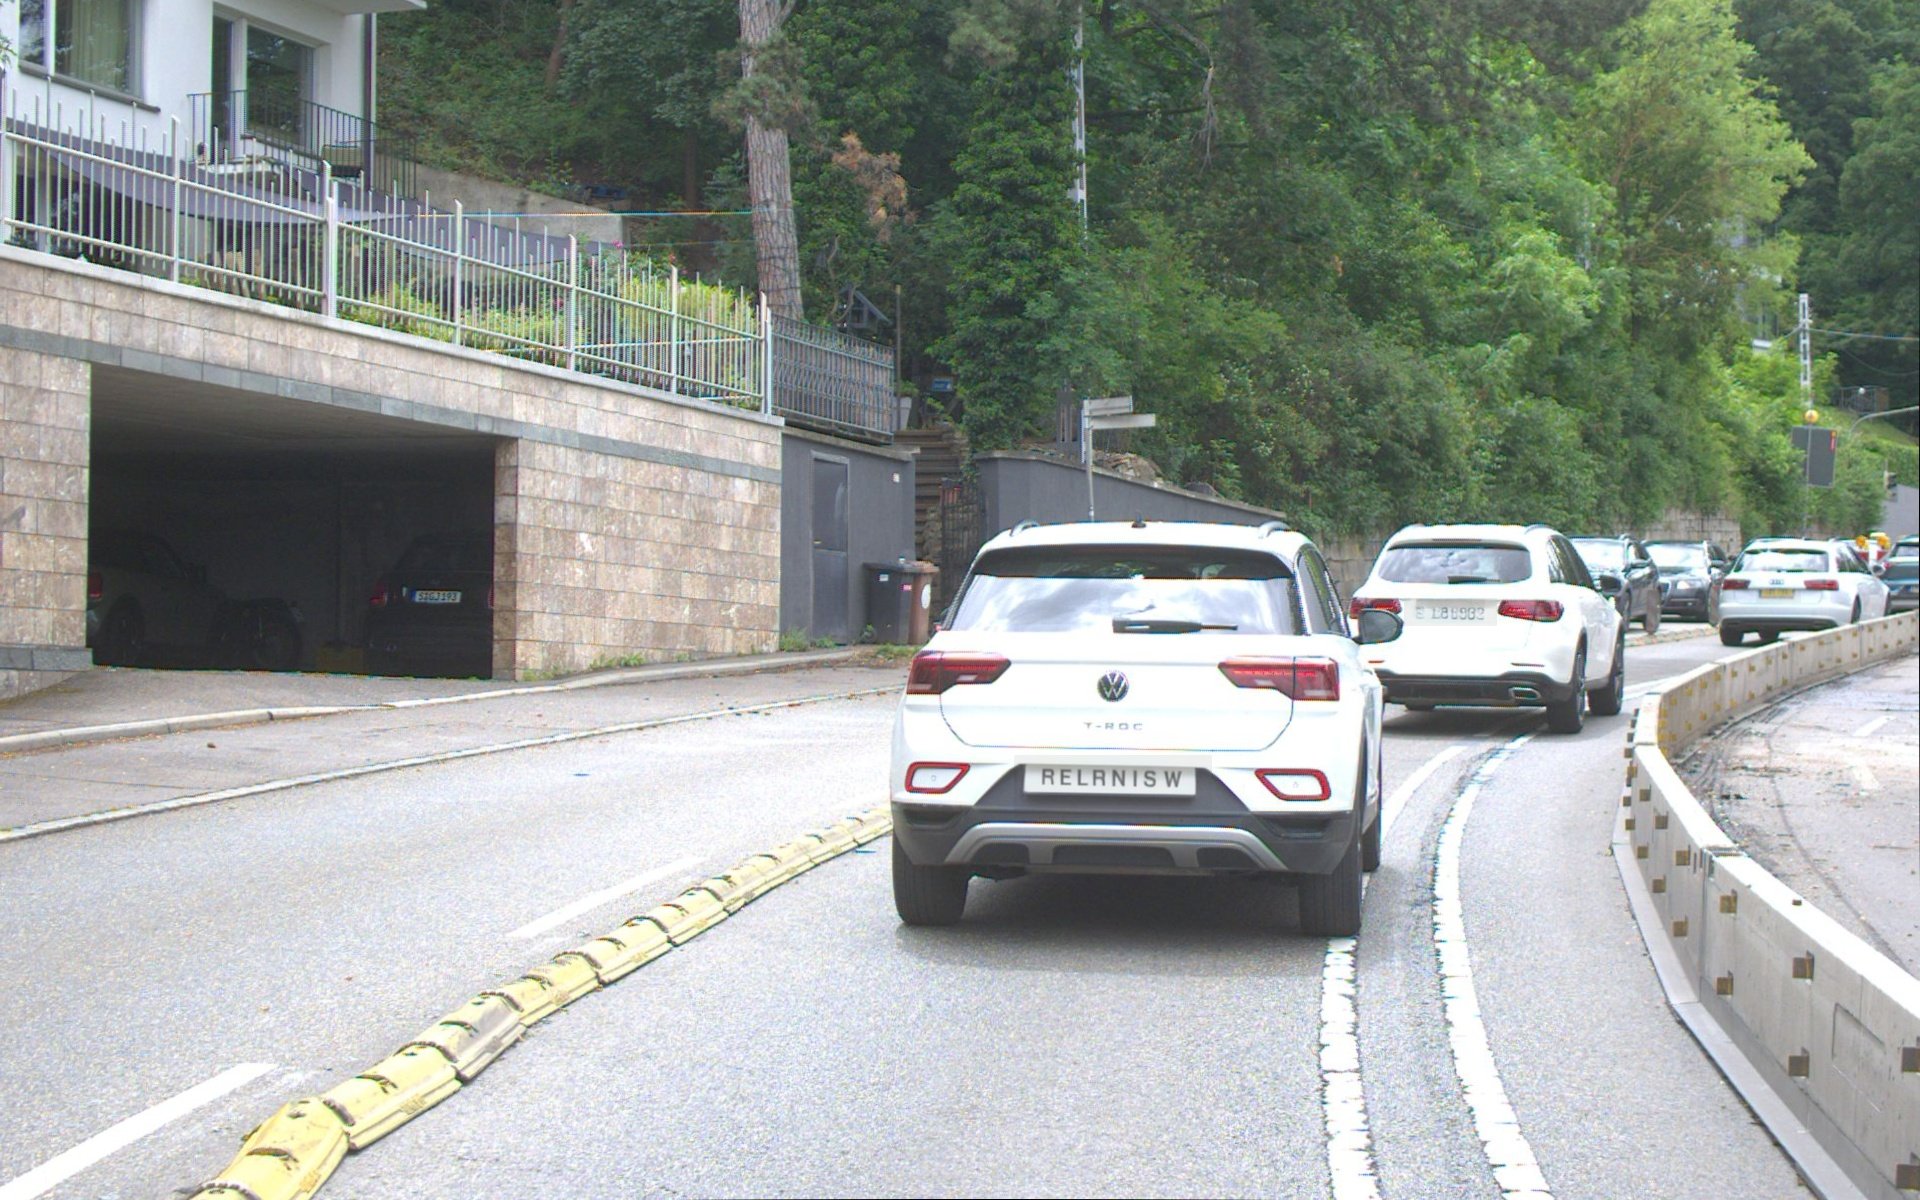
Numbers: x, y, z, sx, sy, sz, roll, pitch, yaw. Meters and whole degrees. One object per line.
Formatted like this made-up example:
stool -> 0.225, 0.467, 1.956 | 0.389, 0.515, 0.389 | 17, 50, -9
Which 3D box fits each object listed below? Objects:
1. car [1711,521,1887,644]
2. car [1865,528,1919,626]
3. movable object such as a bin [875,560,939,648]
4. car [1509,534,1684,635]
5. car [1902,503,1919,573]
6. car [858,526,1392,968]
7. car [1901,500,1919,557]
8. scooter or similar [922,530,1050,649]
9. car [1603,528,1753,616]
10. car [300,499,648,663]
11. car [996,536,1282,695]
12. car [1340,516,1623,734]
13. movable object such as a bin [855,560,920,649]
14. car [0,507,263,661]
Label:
car -> 11.870, -0.276, 48.479 | 1.812, 1.657, 3.995 | 0, 1, 23
car -> 17.065, -0.428, 60.200 | 1.812, 1.657, 3.995 | 0, 1, 23
movable object such as a bin -> -0.584, 0.041, 38.222 | 0.549, 0.973, 0.509 | 0, 1, 23
car -> 10.039, -0.266, 53.968 | 1.769, 1.447, 4.303 | 3, 2, 23
car -> 23.863, -1.502, 82.730 | 1.812, 1.657, 3.995 | 0, 1, 23
car -> 0.822, 0.471, 14.183 | 1.810, 1.526, 3.999 | 1, 2, 8
car -> 25.820, -1.829, 89.977 | 1.769, 1.447, 4.304 | 3, 2, 21
scooter or similar -> 0.274, -0.115, 36.826 | 1.308, 1.251, 0.467 | 1, 1, -5
car -> 12.858, -0.515, 61.392 | 1.769, 1.447, 4.303 | 3, 2, 23
car -> -4.669, -0.152, 33.546 | 1.783, 1.448, 3.698 | 2, -1, 20
car -> 1.821, 0.101, 33.551 | 1.769, 1.430, 4.305 | 1, 1, 17
car -> 4.354, 0.150, 28.244 | 1.811, 1.657, 3.997 | 0, 1, 16
movable object such as a bin -> -0.790, 0.046, 37.710 | 0.549, 0.973, 0.509 | 0, 1, 23
car -> -8.476, -0.134, 34.117 | 1.771, 1.414, 3.543 | 2, -1, 11
